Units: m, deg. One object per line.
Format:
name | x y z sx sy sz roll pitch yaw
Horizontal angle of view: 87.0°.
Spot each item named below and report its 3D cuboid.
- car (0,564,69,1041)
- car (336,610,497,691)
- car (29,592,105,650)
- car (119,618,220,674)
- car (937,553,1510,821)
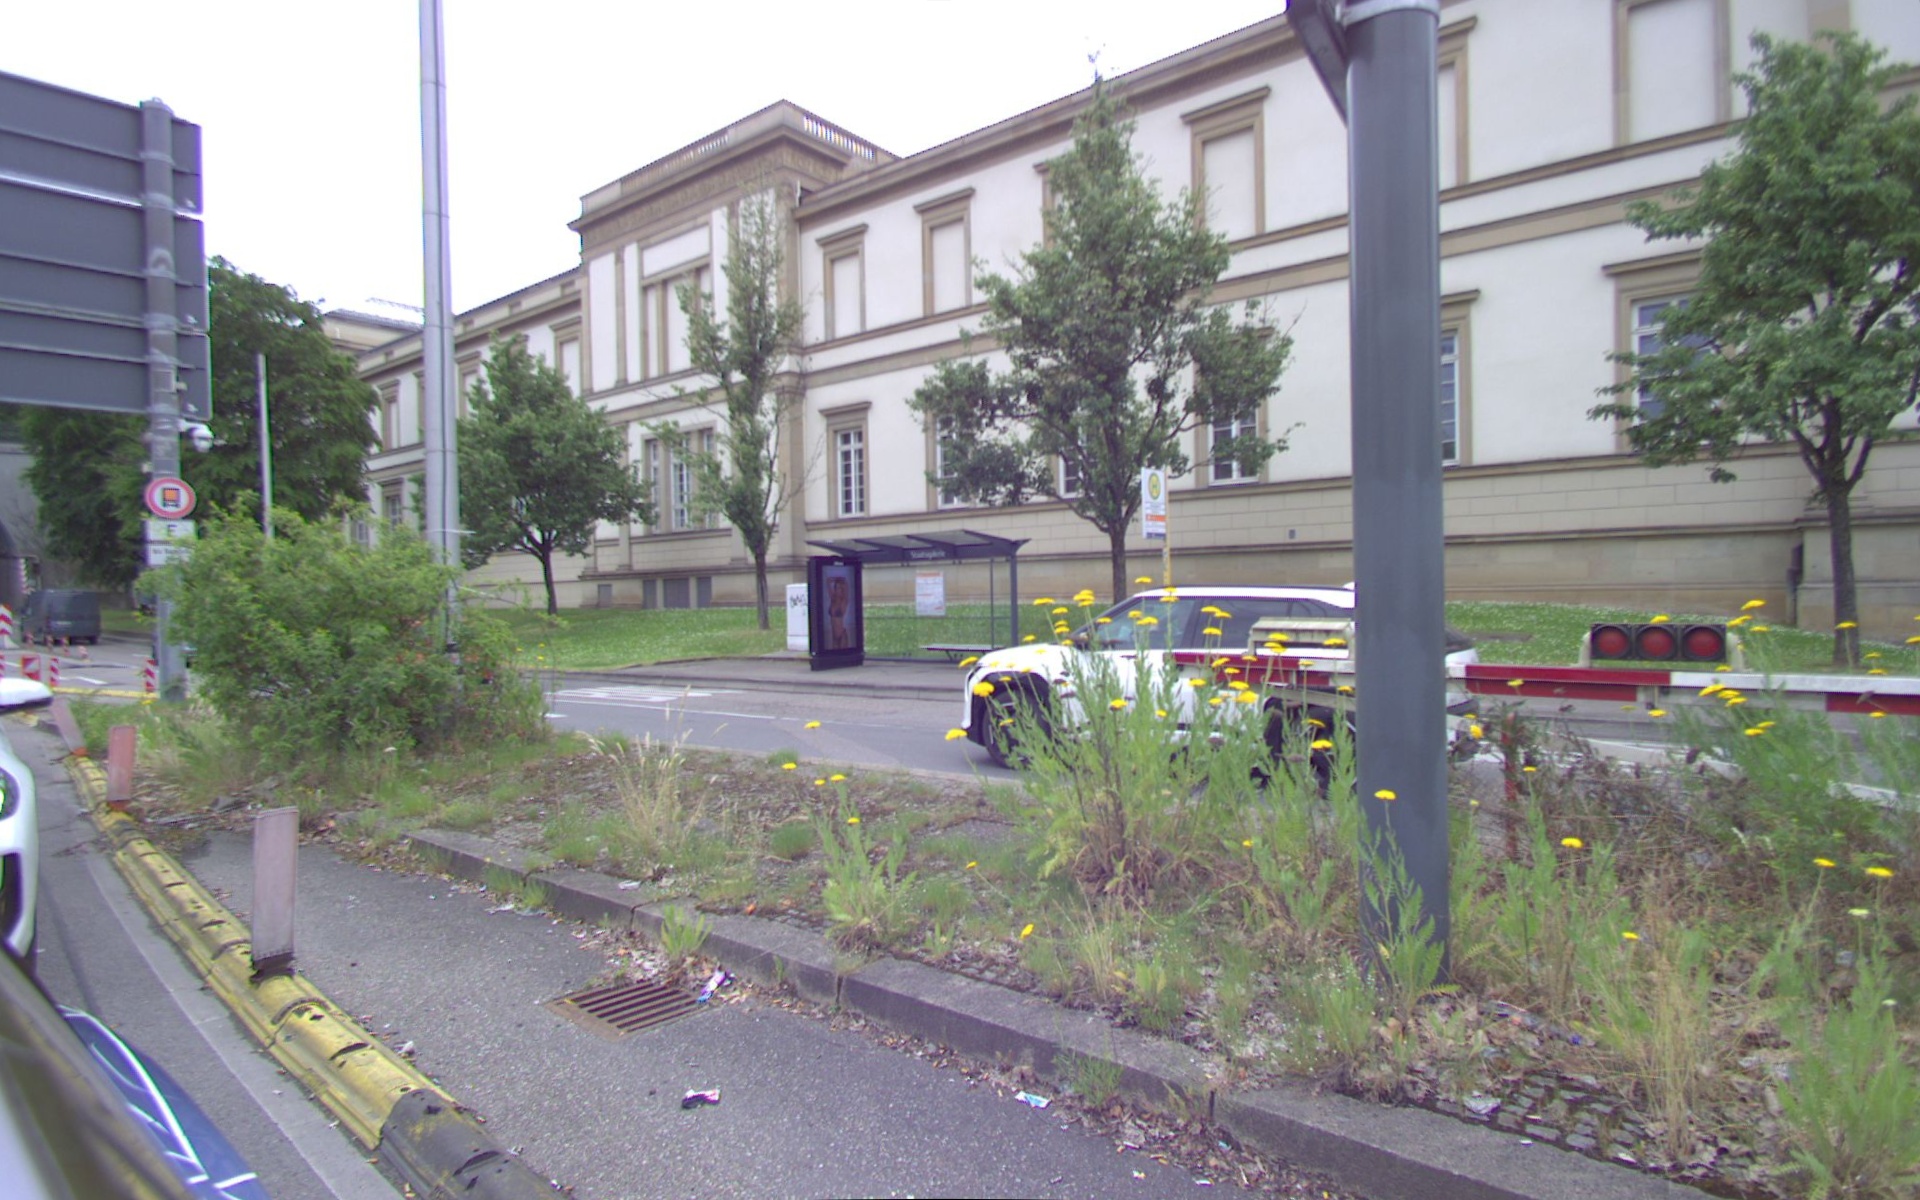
car | -5.204 0.721 4.082 3.668 1.637 1.962 -1 0 41
car | -11.168 0.990 20.721 3.570 1.489 1.626 -1 -1 39
car | -41.268 0.936 46.733 4.758 2.527 2.174 -1 0 43
car | -24.928 1.402 31.890 3.800 1.630 1.756 -1 0 40
car | 2.059 0.570 8.452 4.259 1.704 1.853 -1 0 36
